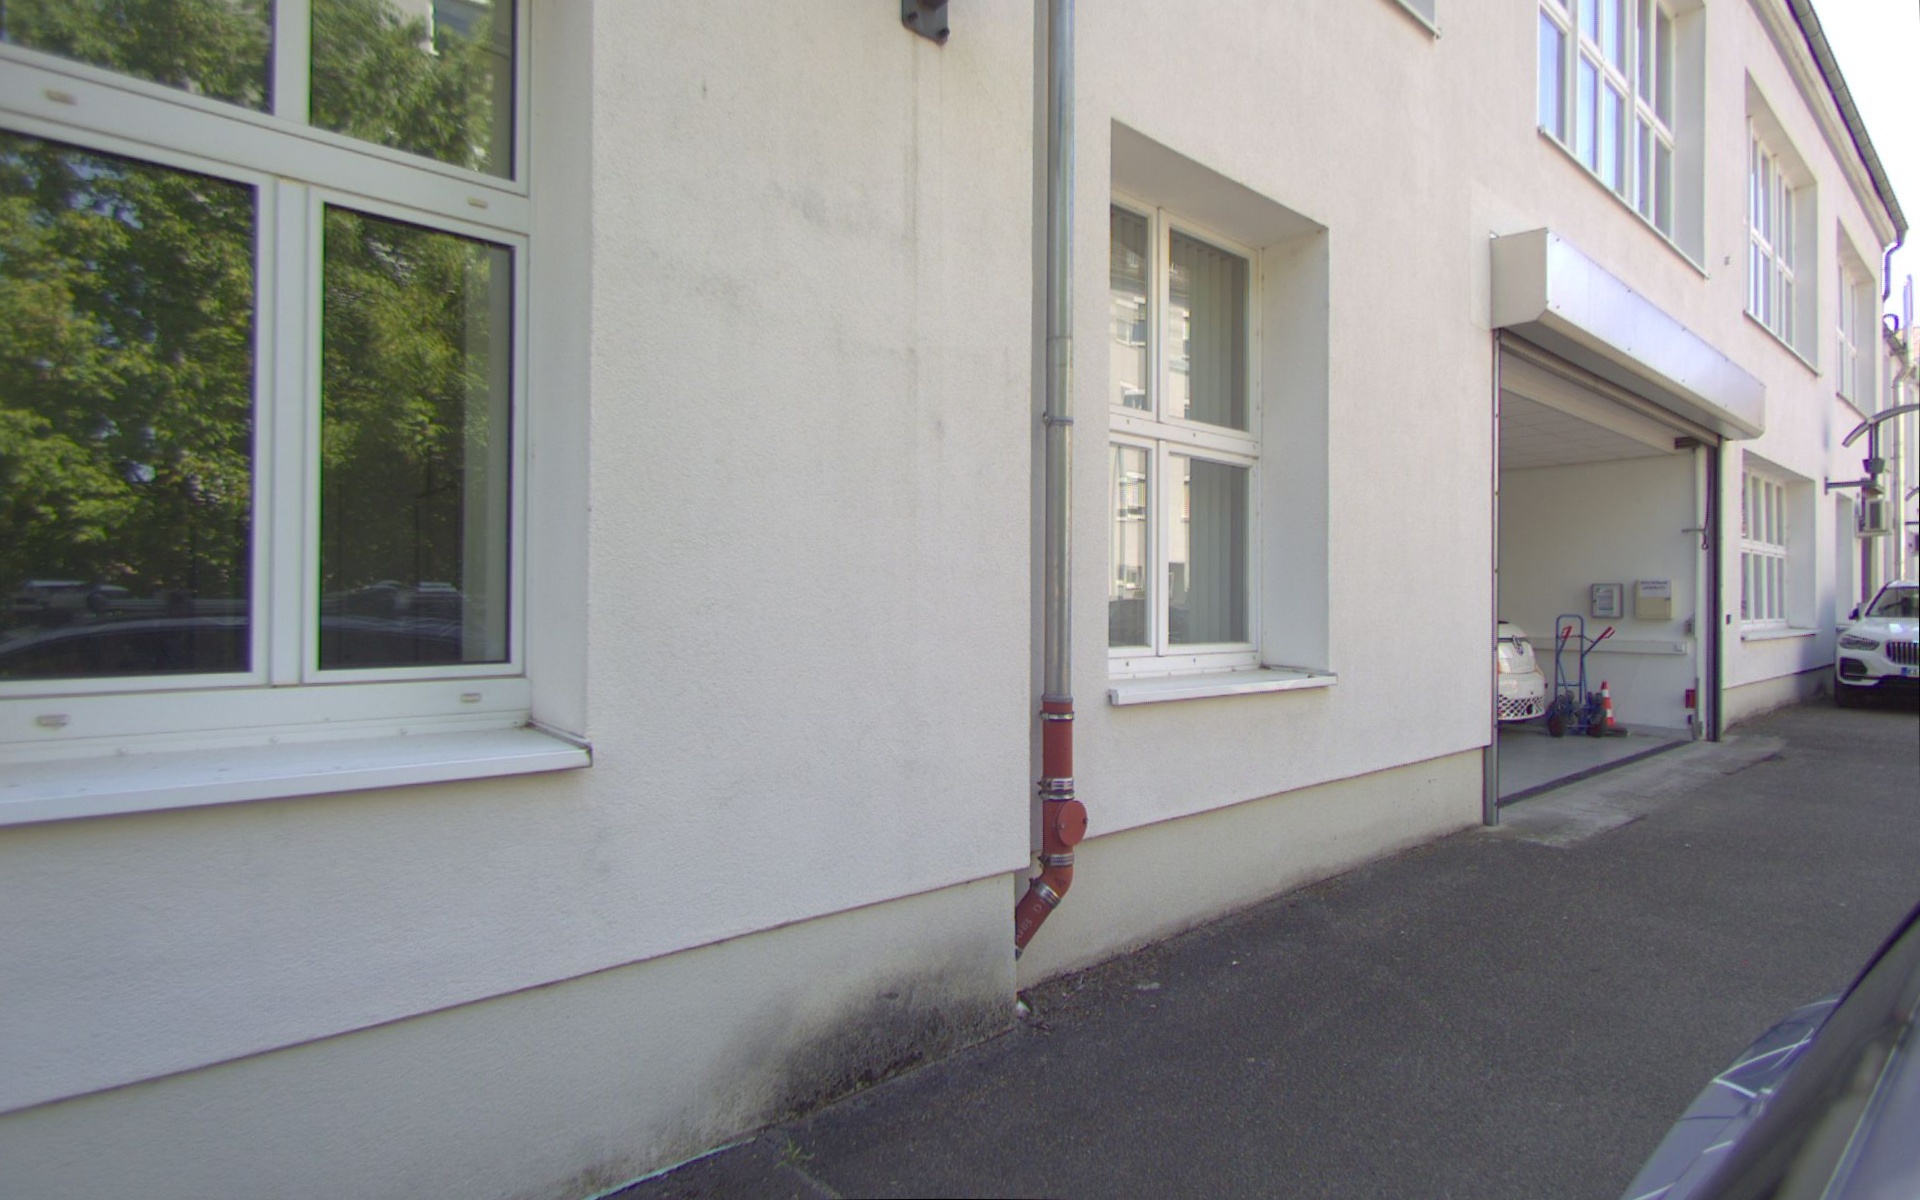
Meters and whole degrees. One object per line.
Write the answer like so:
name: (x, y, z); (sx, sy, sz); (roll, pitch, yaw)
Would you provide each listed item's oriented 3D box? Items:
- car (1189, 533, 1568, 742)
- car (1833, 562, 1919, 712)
car: (4.724, 0.348, 11.888); (1.623, 2.039, 3.838); (0, 0, -37)
car: (13.574, 0.425, 13.708); (4.645, 1.826, 2.010); (-1, 0, -41)
